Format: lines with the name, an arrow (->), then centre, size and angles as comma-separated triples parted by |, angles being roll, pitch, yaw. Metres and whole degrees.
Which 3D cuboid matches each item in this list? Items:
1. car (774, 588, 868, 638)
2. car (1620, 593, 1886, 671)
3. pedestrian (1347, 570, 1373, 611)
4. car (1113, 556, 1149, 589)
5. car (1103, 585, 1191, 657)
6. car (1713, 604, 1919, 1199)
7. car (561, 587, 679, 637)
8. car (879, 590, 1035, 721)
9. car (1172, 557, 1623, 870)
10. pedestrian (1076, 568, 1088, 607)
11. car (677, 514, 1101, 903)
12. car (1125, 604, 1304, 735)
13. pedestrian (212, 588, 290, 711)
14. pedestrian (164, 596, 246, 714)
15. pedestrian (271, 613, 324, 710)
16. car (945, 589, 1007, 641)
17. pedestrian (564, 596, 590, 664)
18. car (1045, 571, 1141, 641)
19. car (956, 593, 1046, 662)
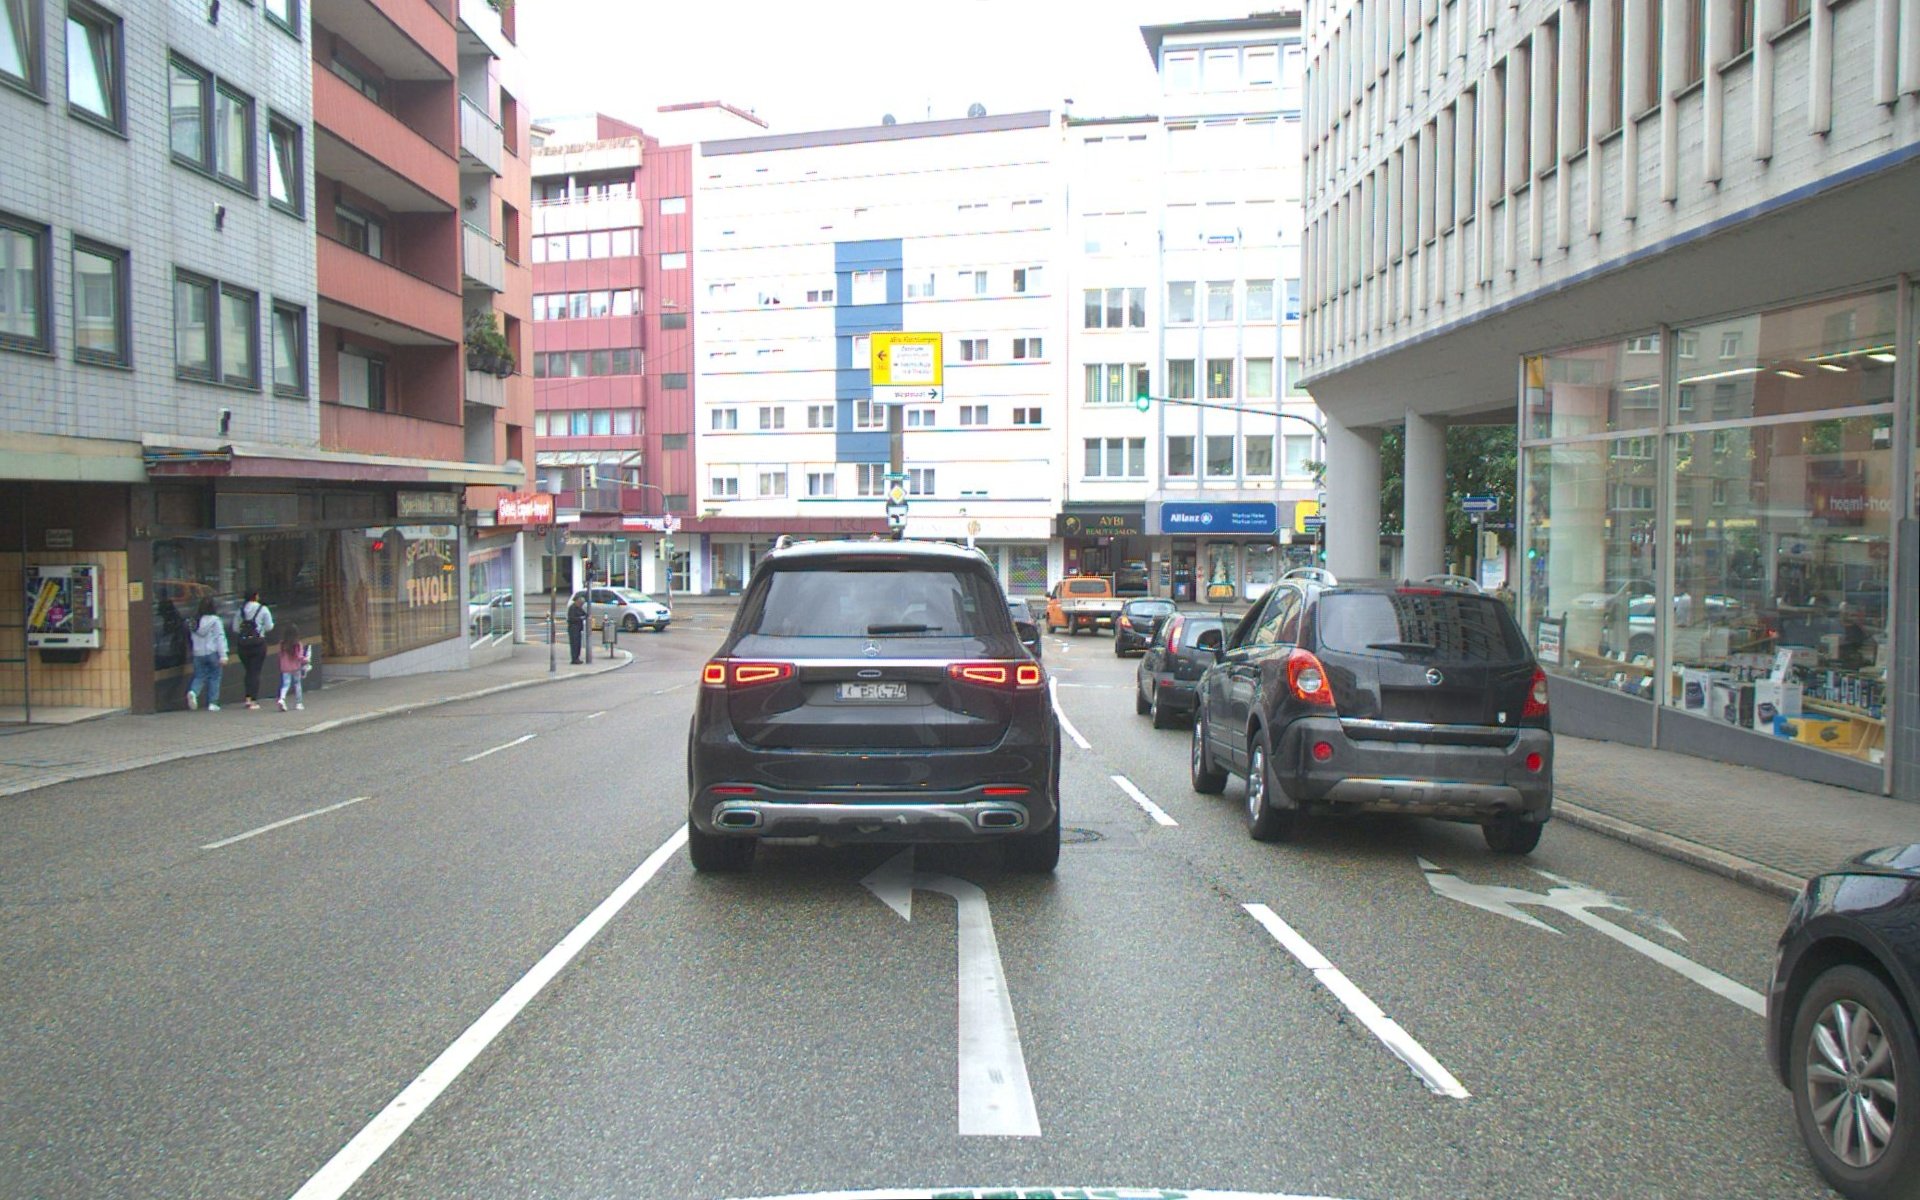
car -> -5.807, 0.509, 68.741 | 1.978, 1.870, 4.123 | 3, 0, -36
car -> 16.625, 0.621, 34.818 | 4.763, 1.521, 1.847 | 0, 0, 41
pedestrian -> 17.455, -0.427, 72.213 | 1.008, 1.717, 0.831 | 0, 6, 8
car -> 9.115, -1.419, 87.854 | 1.759, 1.699, 4.003 | 0, 0, 8
car -> 4.706, 0.531, 42.232 | 1.785, 1.687, 4.496 | 2, -1, 1
car -> 3.242, 0.821, 3.109 | 1.654, 1.503, 3.998 | 3, 0, -2
car -> -12.604, 0.425, 61.193 | 4.082, 1.620, 1.739 | 3, 2, 27
car -> -0.016, 0.650, 21.892 | 1.835, 1.521, 4.400 | 1, 0, 0
car -> 2.830, 0.649, 11.846 | 1.859, 1.724, 4.504 | 3, 0, -2
pedestrian -> 5.603, -0.589, 76.000 | 0.552, 1.717, 0.757 | 0, 6, 6
car -> -0.419, 0.513, 10.262 | 1.998, 1.830, 4.661 | 1, 0, -2
car -> 3.210, 0.827, 21.596 | 1.730, 1.421, 4.001 | 3, 0, 1
pedestrian -> -10.194, 0.703, 23.807 | 0.812, 1.719, 0.722 | 2, 0, -10
pedestrian -> -10.480, 0.757, 22.973 | 0.812, 1.588, 0.722 | 2, 0, -10
pedestrian -> -9.498, 0.876, 23.728 | 0.523, 1.346, 0.722 | 2, 0, -9
car -> 0.471, 0.527, 54.168 | 1.885, 1.542, 4.661 | 2, -1, -1
pedestrian -> -9.797, 0.749, 42.336 | 0.543, 1.727, 0.623 | 0, 0, -4
car -> 4.586, 0.198, 58.028 | 2.200, 2.267, 5.418 | 1, 0, -8
car -> 0.913, 0.599, 38.813 | 1.953, 1.512, 4.236 | -1, 0, -1
